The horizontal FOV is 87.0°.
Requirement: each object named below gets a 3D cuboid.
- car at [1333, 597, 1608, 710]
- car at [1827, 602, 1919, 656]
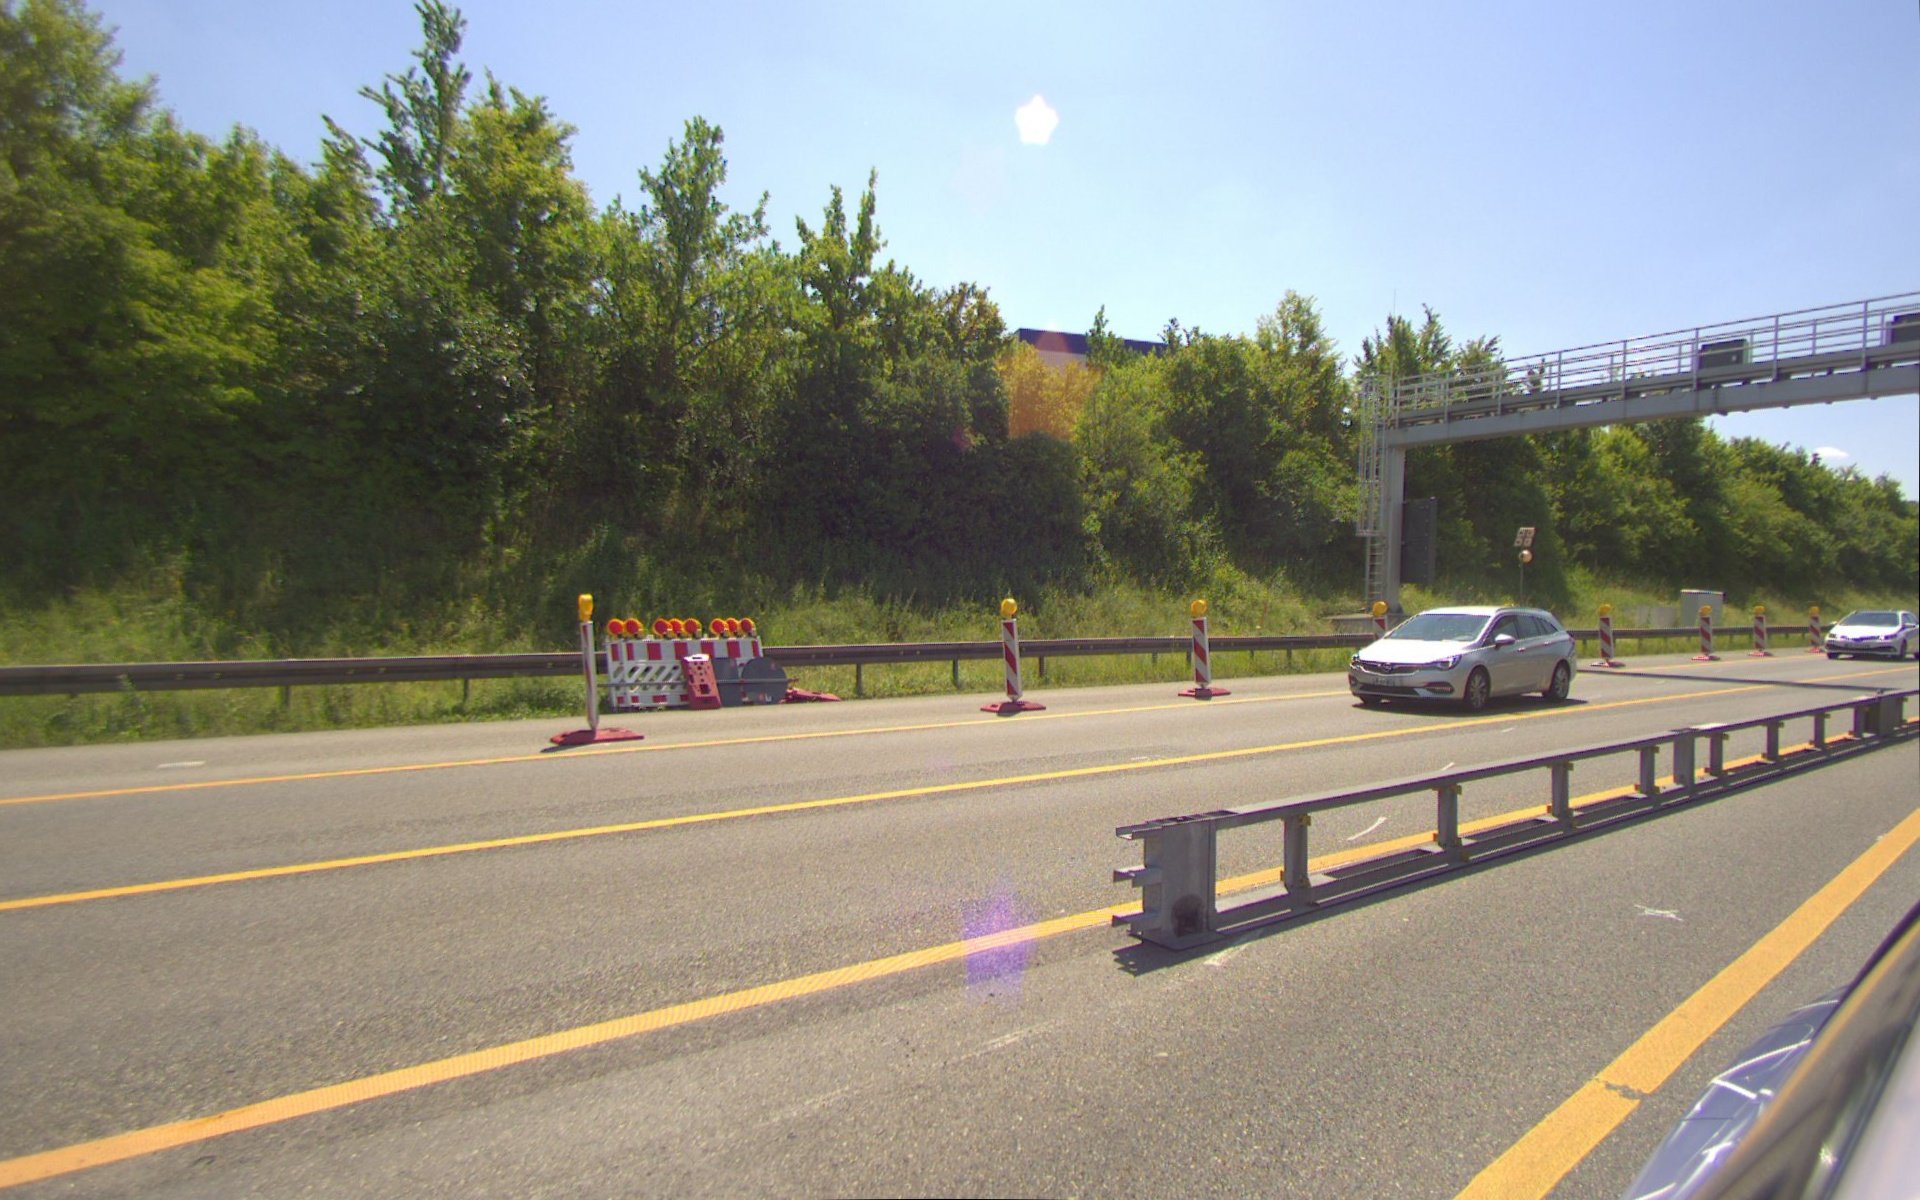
[{"bbox_3d":[7.901,0.716,15.498,4.564,1.483,1.821,0,0,-35],"label":"car"},{"bbox_3d":[28.000,0.823,30.447,4.564,1.483,1.821,0,0,-35],"label":"car"}]
